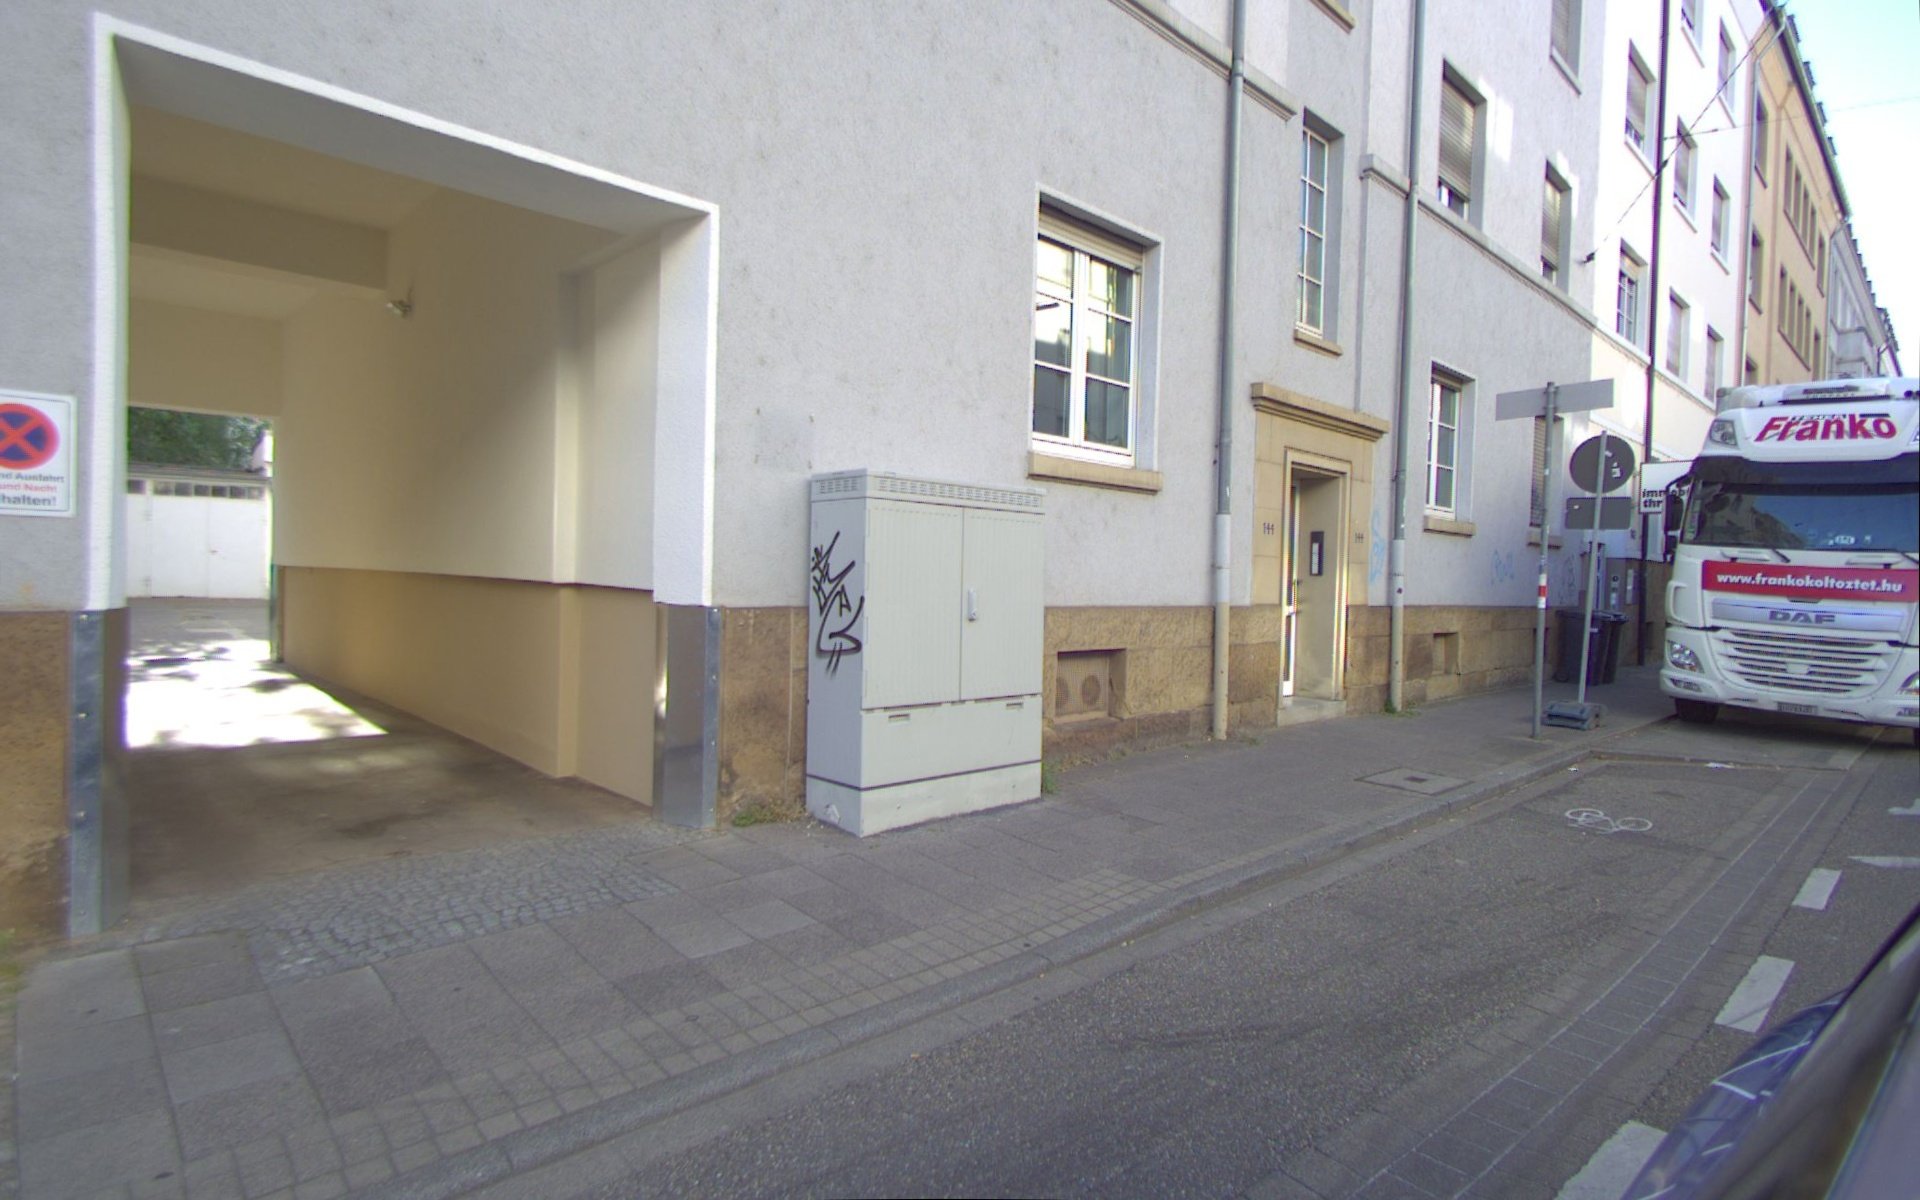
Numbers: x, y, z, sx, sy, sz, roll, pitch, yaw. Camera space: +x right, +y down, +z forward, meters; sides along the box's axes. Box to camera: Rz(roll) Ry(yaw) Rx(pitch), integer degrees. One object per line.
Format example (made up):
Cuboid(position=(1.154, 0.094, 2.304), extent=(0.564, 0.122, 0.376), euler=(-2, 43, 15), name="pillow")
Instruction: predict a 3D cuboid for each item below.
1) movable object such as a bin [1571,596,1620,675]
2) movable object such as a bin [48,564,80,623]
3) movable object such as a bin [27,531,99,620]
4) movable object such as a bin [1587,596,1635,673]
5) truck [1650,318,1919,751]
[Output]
Cuboid(position=(9.151, 0.501, 14.568), extent=(0.511, 1.106, 0.488), euler=(0, 0, 45), name="movable object such as a bin")
Cuboid(position=(-14.371, -0.115, 16.228), extent=(0.366, 0.919, 0.420), euler=(0, 3, -44), name="movable object such as a bin")
Cuboid(position=(-14.893, -0.412, 16.799), extent=(0.874, 1.409, 0.758), euler=(0, 4, -44), name="movable object such as a bin")
Cuboid(position=(9.608, 0.494, 14.940), extent=(0.511, 1.106, 0.488), euler=(0, 0, 45), name="movable object such as a bin")
Cuboid(position=(12.593, -0.602, 13.843), extent=(11.511, 4.012, 2.894), euler=(0, 0, -44), name="truck")
